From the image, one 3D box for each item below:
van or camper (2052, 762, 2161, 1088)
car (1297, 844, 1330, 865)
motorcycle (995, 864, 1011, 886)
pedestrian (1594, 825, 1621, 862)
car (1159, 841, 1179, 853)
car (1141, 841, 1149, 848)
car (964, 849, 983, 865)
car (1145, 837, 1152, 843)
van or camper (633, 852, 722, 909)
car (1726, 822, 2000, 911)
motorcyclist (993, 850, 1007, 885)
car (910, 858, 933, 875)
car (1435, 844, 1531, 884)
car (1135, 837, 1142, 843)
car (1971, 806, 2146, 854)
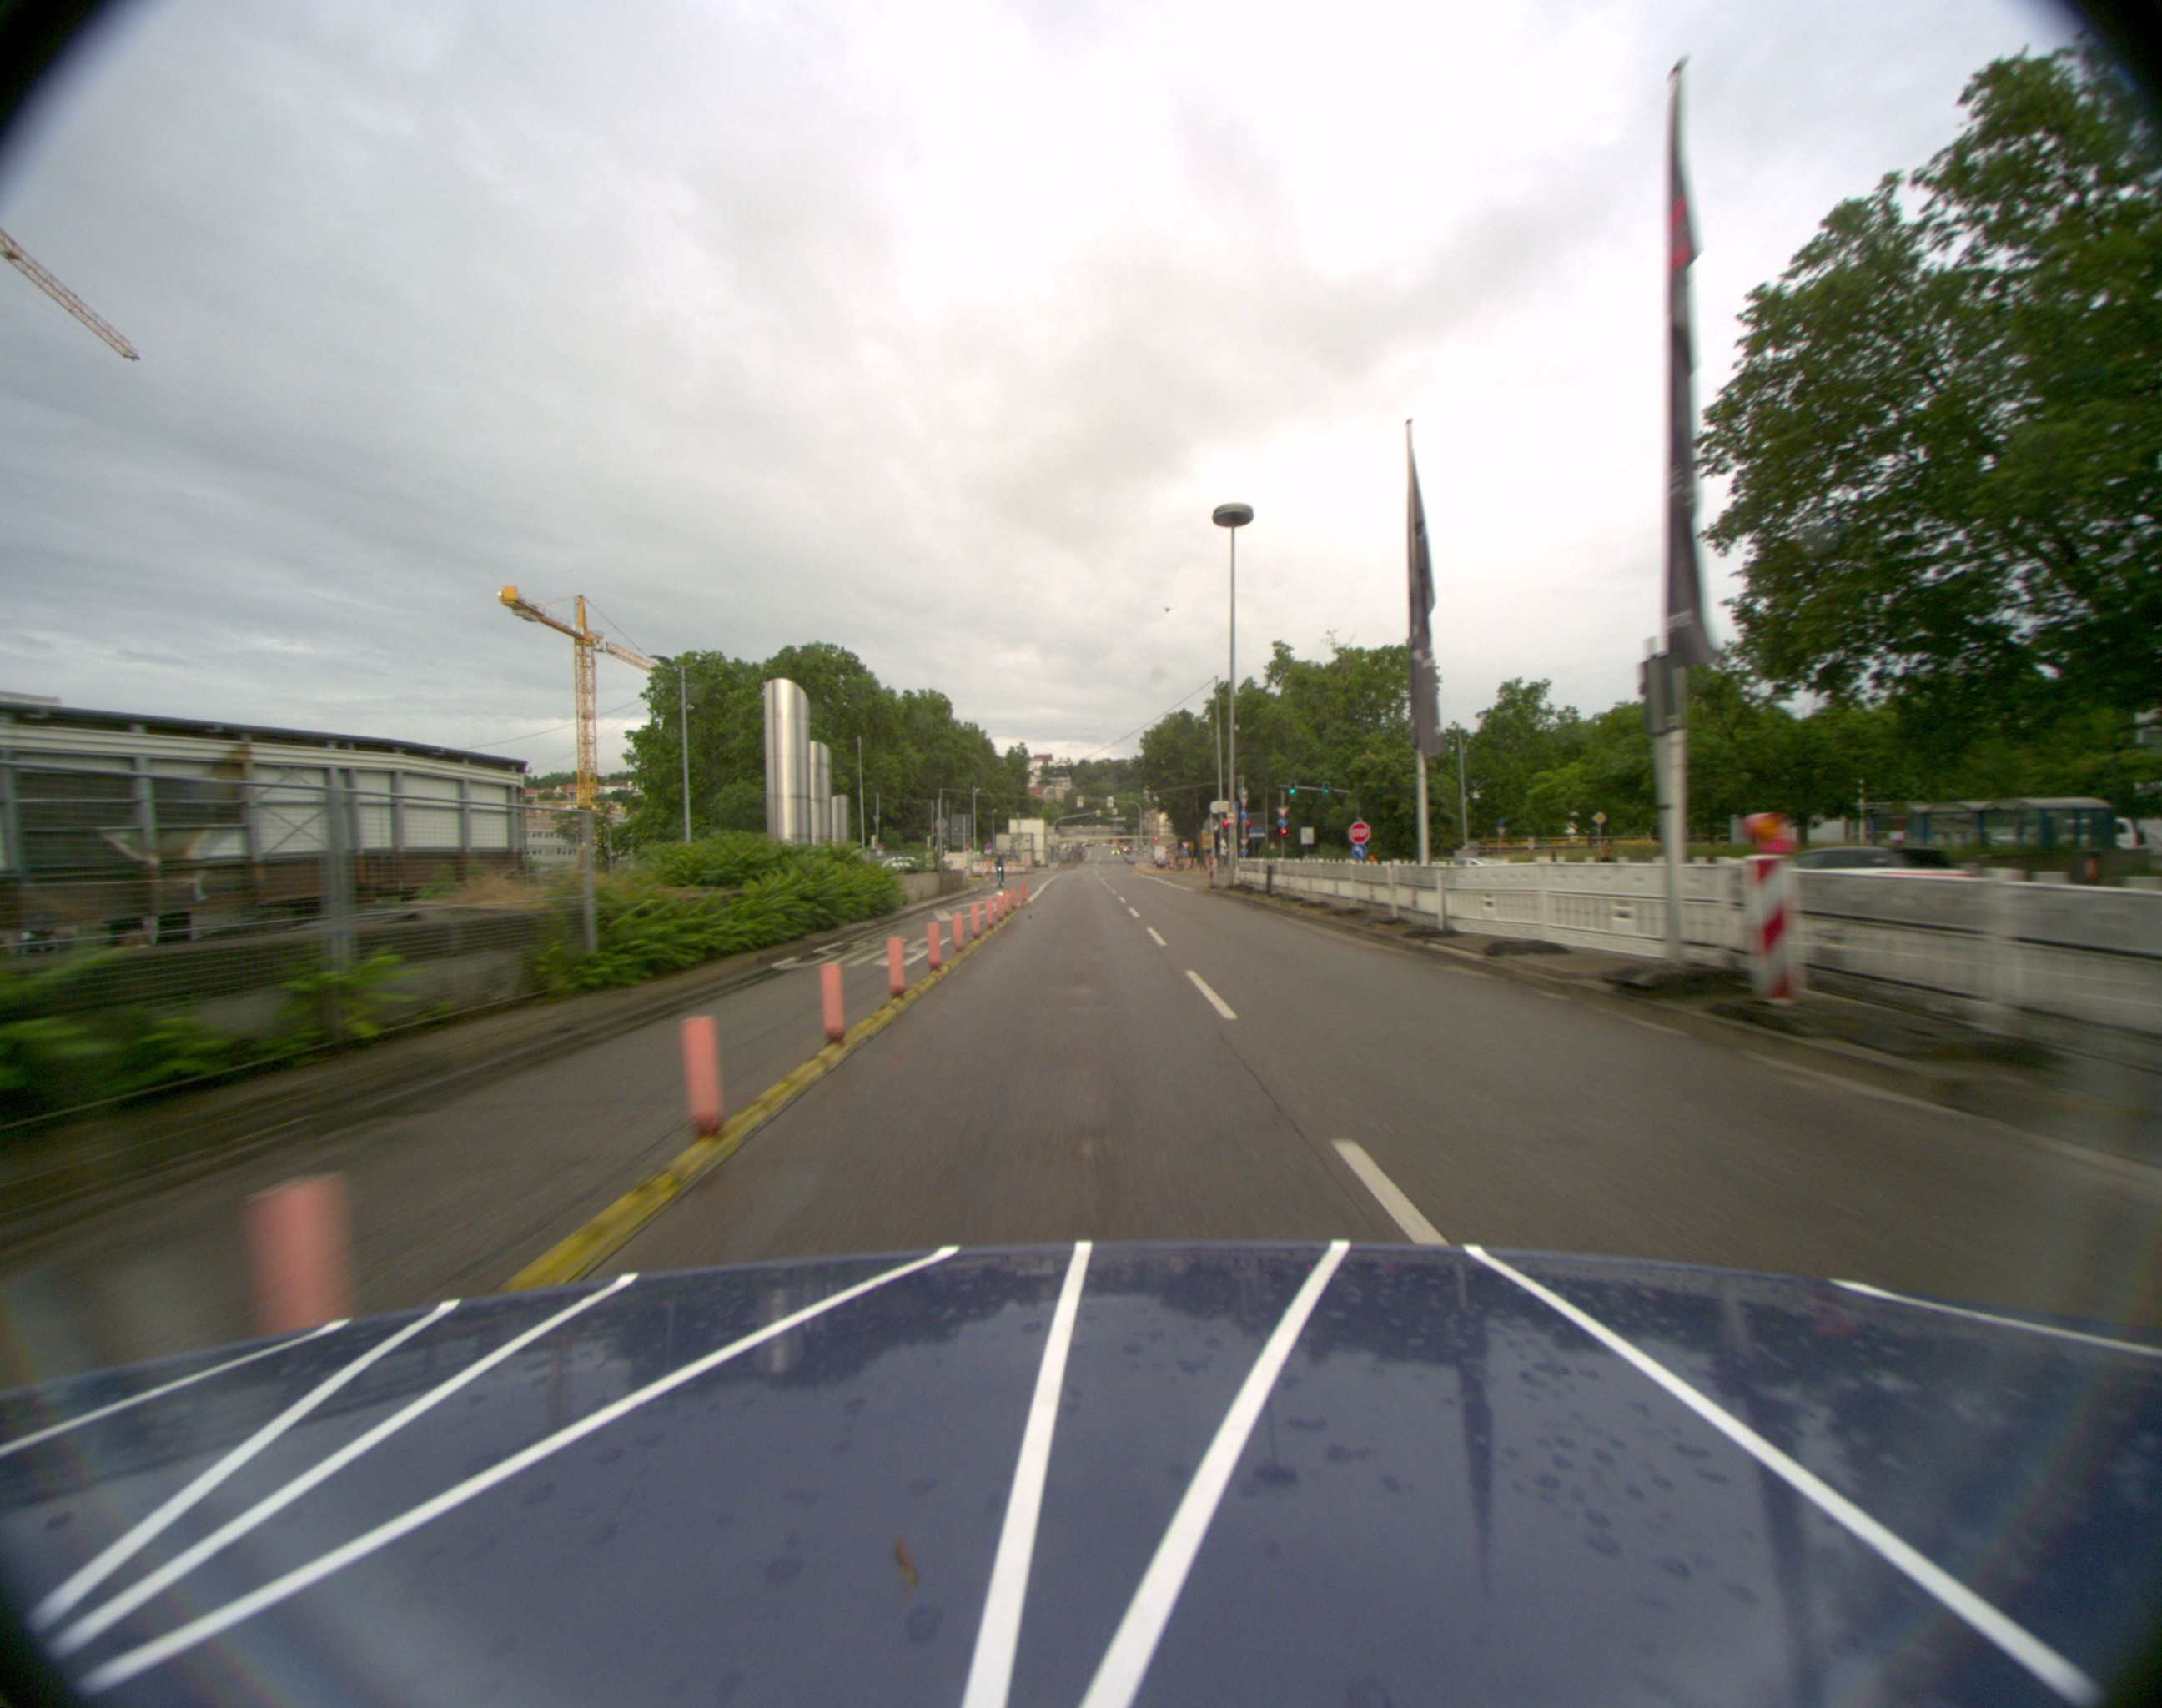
[{"bbox_3d":[7.001,0.413,1.986,1.950,1.809,5.391,1,0,-1],"label":"van or camper"},{"bbox_3d":[17.489,0.000,57.176,1.682,1.534,3.174,0,1,3],"label":"car"},{"bbox_3d":[-4.523,1.199,44.128,0.730,1.221,2.161,0,-1,0],"label":"motorcycle"},{"bbox_3d":[25.620,-0.497,36.985,0.558,1.714,0.951,-2,-2,0],"label":"pedestrian"},{"bbox_3d":[12.928,-0.966,111.853,1.664,1.533,4.156,-2,-2,-10],"label":"car"},{"bbox_3d":[18.411,-2.782,219.986,1.998,2.001,4.001,-2,-1,1],"label":"car"},{"bbox_3d":[-13.858,0.429,98.106,1.999,2.054,4.189,0,-1,-3],"label":"car"},{"bbox_3d":[22.669,-4.712,253.534,1.998,2.002,4.000,-2,0,1],"label":"car"},{"bbox_3d":[-18.789,1.166,35.217,2.391,2.387,6.047,0,-1,-40],"label":"van or camper"},{"bbox_3d":[17.212,0.258,17.117,1.894,1.692,4.303,-2,0,4],"label":"car"},{"bbox_3d":[-4.696,0.788,44.123,0.726,2.024,0.587,0,0,0],"label":"motorcyclist"},{"bbox_3d":[-15.715,1.209,75.036,2.000,1.627,4.188,0,-1,-8],"label":"car"},{"bbox_3d":[18.020,0.429,34.357,1.998,1.622,4.820,-2,0,4],"label":"car"},{"bbox_3d":[19.174,-4.653,254.968,1.998,2.002,4.000,-2,0,1],"label":"car"},{"bbox_3d":[45.871,-1.084,35.802,2.039,2.002,4.823,-2,0,-30],"label":"car"}]
